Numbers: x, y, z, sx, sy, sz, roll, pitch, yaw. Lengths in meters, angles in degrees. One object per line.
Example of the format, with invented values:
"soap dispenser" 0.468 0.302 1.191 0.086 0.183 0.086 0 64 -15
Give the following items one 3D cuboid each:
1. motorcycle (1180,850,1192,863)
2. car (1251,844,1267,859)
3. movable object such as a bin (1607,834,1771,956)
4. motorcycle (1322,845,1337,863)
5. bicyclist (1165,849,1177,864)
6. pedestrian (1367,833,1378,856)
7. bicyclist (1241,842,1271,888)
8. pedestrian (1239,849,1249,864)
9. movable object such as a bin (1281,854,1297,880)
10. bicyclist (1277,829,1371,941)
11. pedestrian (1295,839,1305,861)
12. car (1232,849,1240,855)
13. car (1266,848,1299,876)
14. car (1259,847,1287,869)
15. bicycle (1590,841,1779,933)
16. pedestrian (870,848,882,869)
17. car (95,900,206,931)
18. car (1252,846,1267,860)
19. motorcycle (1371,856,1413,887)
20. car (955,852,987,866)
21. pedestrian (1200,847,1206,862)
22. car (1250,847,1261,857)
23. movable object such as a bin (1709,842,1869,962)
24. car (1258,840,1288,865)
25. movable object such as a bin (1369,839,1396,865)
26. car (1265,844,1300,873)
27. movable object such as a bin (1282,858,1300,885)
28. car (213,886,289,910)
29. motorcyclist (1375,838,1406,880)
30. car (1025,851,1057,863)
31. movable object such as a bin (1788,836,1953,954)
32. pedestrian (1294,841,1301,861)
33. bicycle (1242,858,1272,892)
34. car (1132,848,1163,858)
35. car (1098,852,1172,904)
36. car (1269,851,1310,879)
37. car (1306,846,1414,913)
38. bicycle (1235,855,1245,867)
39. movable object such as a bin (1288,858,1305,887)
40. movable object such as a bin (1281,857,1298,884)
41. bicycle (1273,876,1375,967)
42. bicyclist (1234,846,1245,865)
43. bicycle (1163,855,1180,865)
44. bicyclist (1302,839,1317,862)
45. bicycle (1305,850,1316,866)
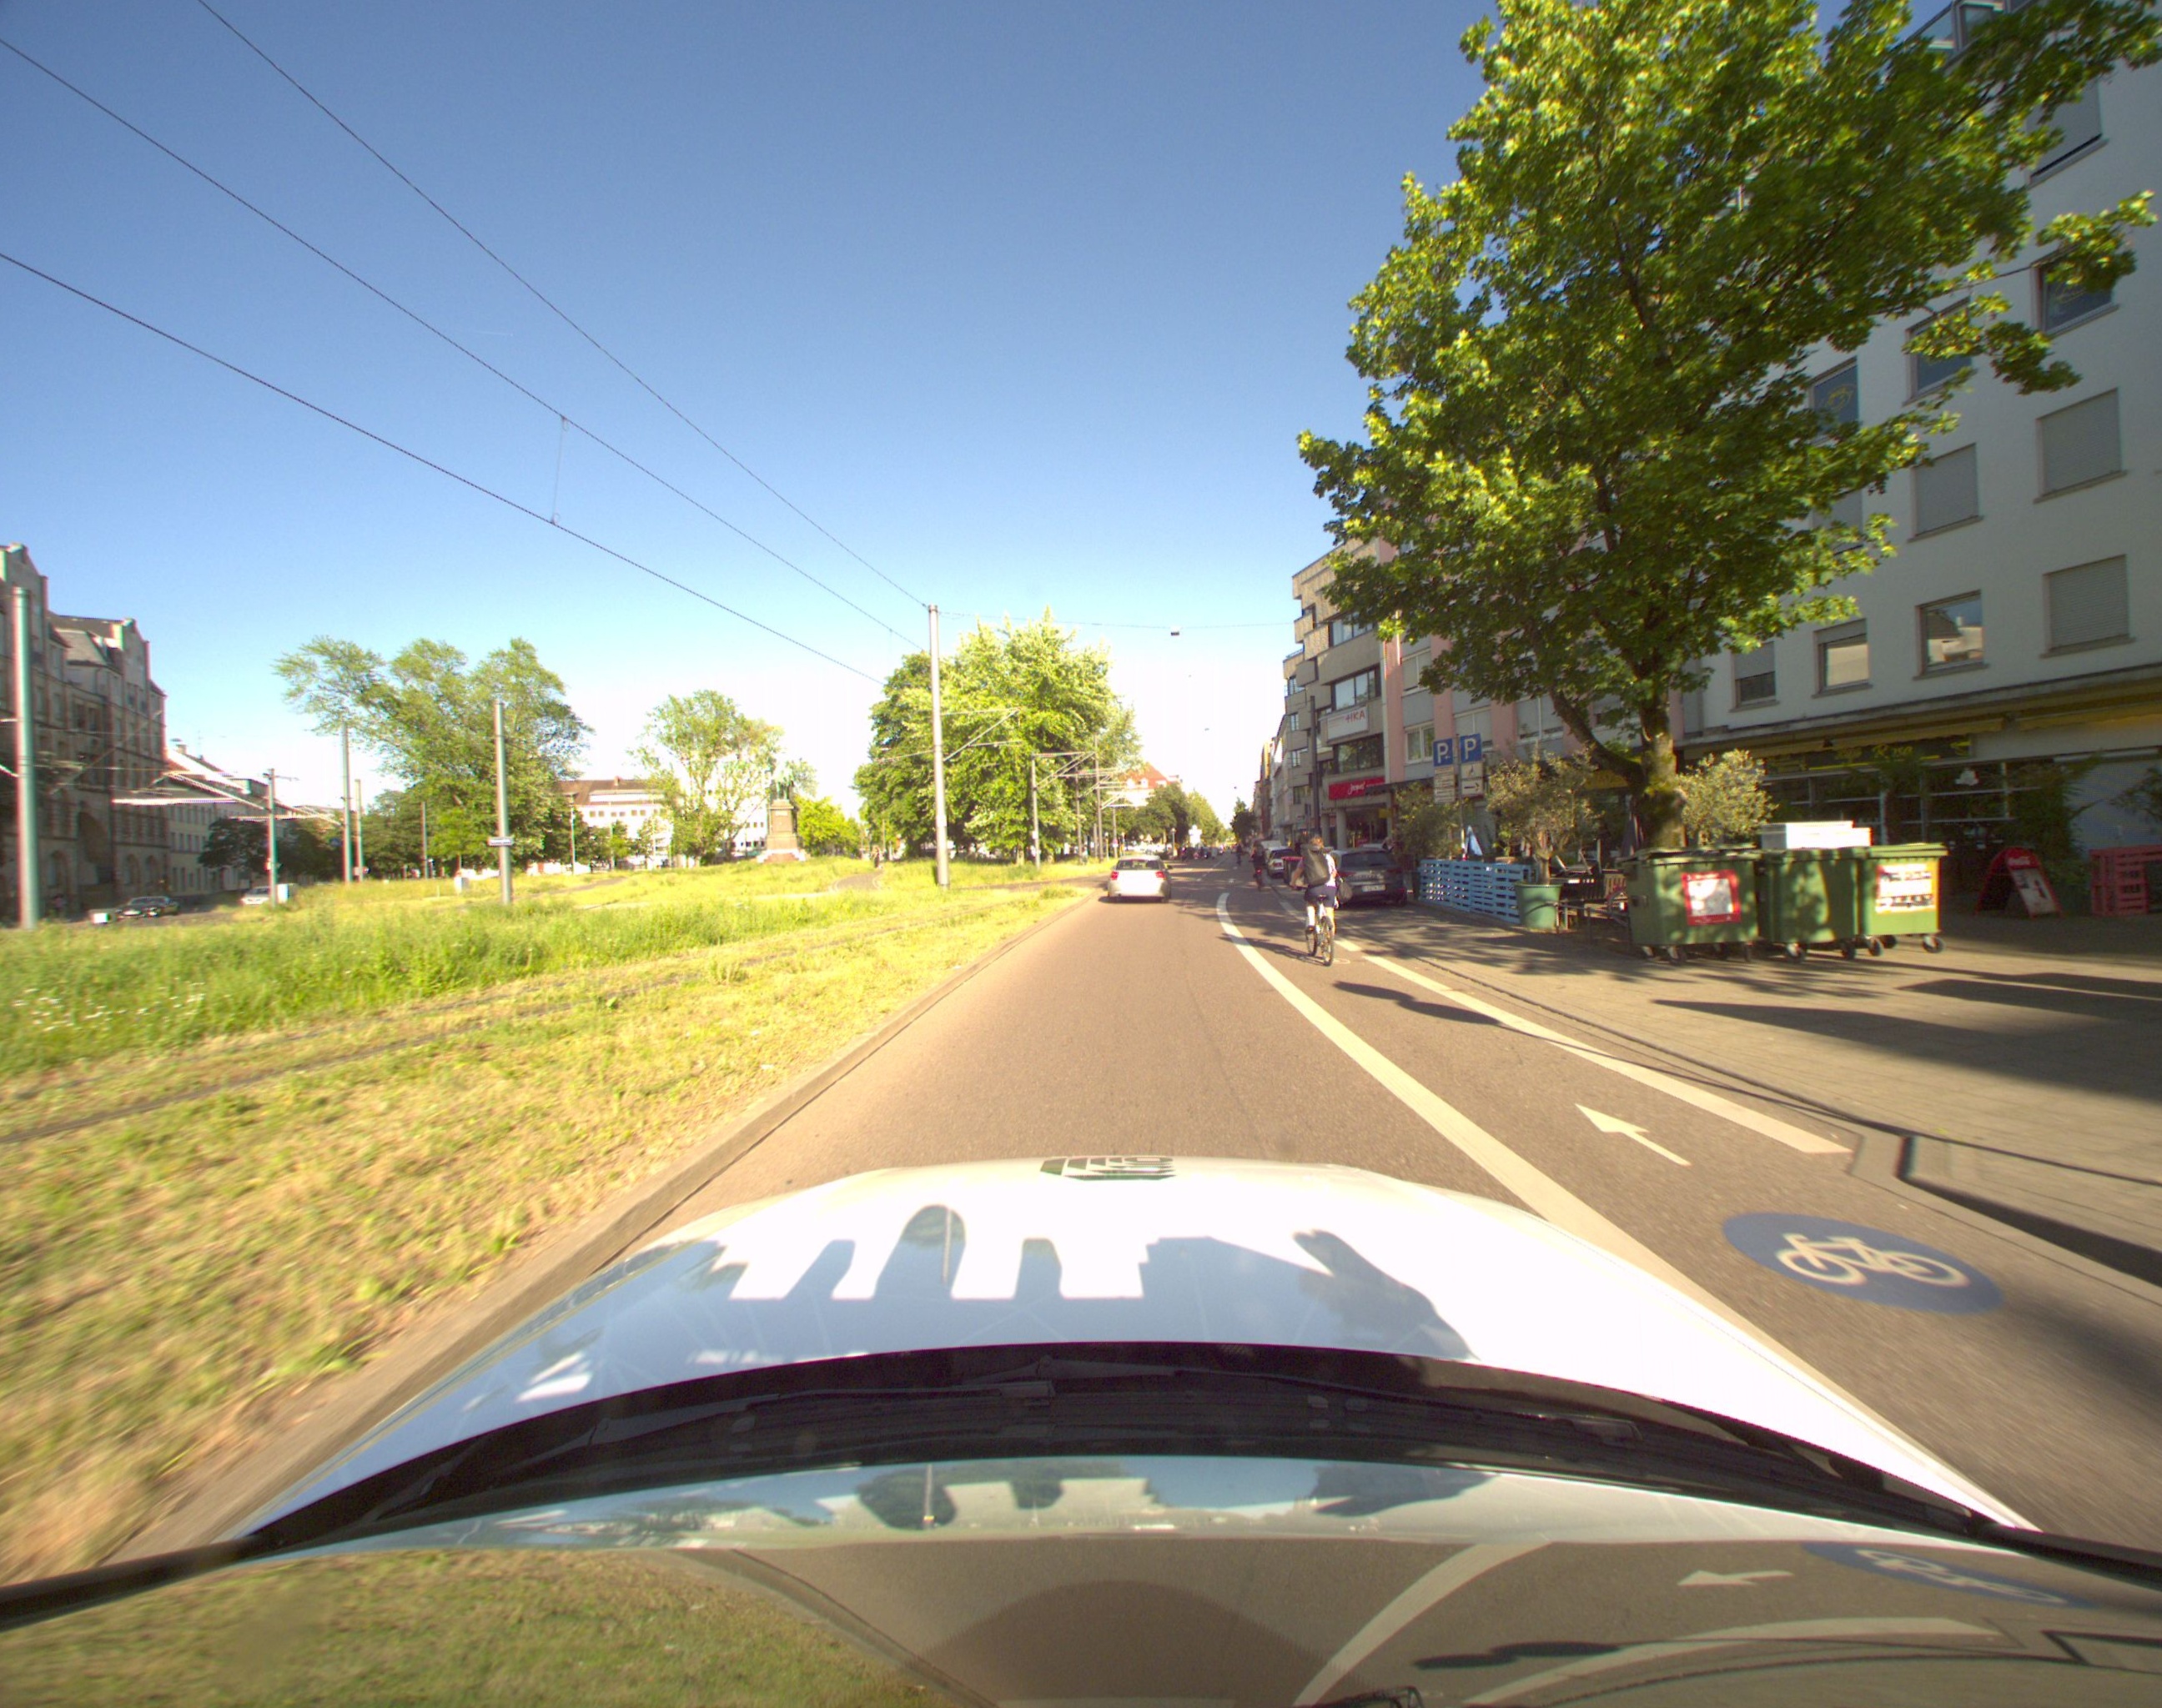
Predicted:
"motorcycle" 11.304 0.270 87.576 0.746 1.374 1.753 0 -1 -12
"car" 25.194 -0.379 115.513 1.981 2.005 5.131 -2 0 10
"movable object such as a bin" 7.275 0.483 9.818 1.274 1.391 0.923 -1 -1 4
"motorcycle" 17.468 0.004 57.205 0.757 1.155 2.058 -5 -2 21
"bicyclist" 9.239 0.233 83.697 0.931 1.507 0.821 0 -1 -16
"pedestrian" 23.956 -0.783 66.958 0.697 1.816 0.721 -1 -1 26
"bicyclist" 6.391 0.408 29.749 0.935 1.633 0.936 -1 -1 4
"pedestrian" 18.220 0.266 91.044 0.670 1.699 0.799 0 -1 -21
"movable object such as a bin" 8.764 0.561 34.326 0.589 1.083 0.606 -1 -1 8
"bicyclist" 3.371 0.423 11.409 1.033 1.484 0.989 -1 -1 3
"pedestrian" 18.907 -0.355 70.429 0.666 1.856 0.613 -4 -2 14
"car" 39.782 -0.505 208.473 1.858 1.556 4.013 -1 -1 12
"car" 11.370 0.454 46.037 1.659 1.518 4.214 -1 -1 13
"car" 13.285 0.275 56.315 1.762 1.454 4.747 -1 -1 13
"bicycle" 8.846 0.485 12.073 2.141 1.251 0.905 -2 0 33
"pedestrian" -15.762 0.341 62.685 0.678 1.616 0.548 0 -2 -41
"car" -50.324 3.321 44.177 1.999 1.513 4.255 -1 -3 -18
"car" 23.090 -0.091 105.418 1.734 1.739 4.975 -1 -1 11
"motorcycle" 11.903 0.670 31.264 0.773 1.126 2.298 -1 -1 2
"car" -18.946 0.827 139.764 5.341 2.314 1.991 0 -1 -13
"pedestrian" 14.116 0.095 94.366 0.632 1.672 0.695 -1 -1 11
"car" 31.255 -0.302 145.871 1.887 1.675 4.839 -1 -1 11
"movable object such as a bin" 8.513 0.548 9.827 1.173 1.356 0.924 0 -1 -12
"car" 14.733 -0.075 62.698 1.981 1.813 4.322 -1 -1 11
"movable object such as a bin" 16.463 -0.085 44.536 1.325 1.398 1.126 -1 -1 18
"car" 12.285 0.309 49.933 1.839 1.689 3.878 -1 -1 11
"movable object such as a bin" 8.395 0.683 32.511 0.603 1.069 0.614 -1 -1 7
"car" -57.785 3.053 56.840 2.002 1.354 4.732 -1 0 -23
"motorcyclist" 11.862 0.196 31.235 0.894 1.551 0.806 -1 -1 1
"car" -7.347 0.580 148.067 5.587 2.014 1.808 0 -1 -16
"movable object such as a bin" 9.866 0.493 10.213 1.214 1.391 0.955 0 -1 -12
"pedestrian" 18.908 -0.272 71.240 0.579 1.714 0.700 -1 -1 14
"bicycle" 6.392 0.757 29.738 0.816 1.185 1.967 -1 -1 5
"car" 12.117 -0.179 147.817 5.274 1.800 2.152 0 -1 -16
"car" 1.742 0.706 24.837 1.983 1.423 4.205 -1 -1 7
"car" 10.421 0.554 40.886 1.838 1.344 4.616 -1 -1 13
"car" 6.954 0.563 20.735 1.755 1.438 4.595 -3 0 9
"bicycle" 12.402 0.552 63.649 0.648 0.958 2.705 -1 -1 10
"movable object such as a bin" 8.116 0.695 30.678 0.570 1.082 0.571 -1 -1 7
"movable object such as a bin" 8.467 0.675 33.142 0.601 1.069 0.546 -1 -1 7
"bicycle" 3.403 0.904 11.649 0.882 1.136 2.230 -1 -1 3
"bicyclist" 12.409 0.103 63.721 0.781 1.453 1.098 -1 -1 9
"bicycle" 9.265 0.632 83.524 0.811 1.069 2.569 0 -1 -16
"bicyclist" 13.457 -0.173 47.934 0.753 1.326 0.997 -1 -1 12
"bicycle" 13.471 0.257 47.864 0.530 0.891 2.077 -1 -1 13
